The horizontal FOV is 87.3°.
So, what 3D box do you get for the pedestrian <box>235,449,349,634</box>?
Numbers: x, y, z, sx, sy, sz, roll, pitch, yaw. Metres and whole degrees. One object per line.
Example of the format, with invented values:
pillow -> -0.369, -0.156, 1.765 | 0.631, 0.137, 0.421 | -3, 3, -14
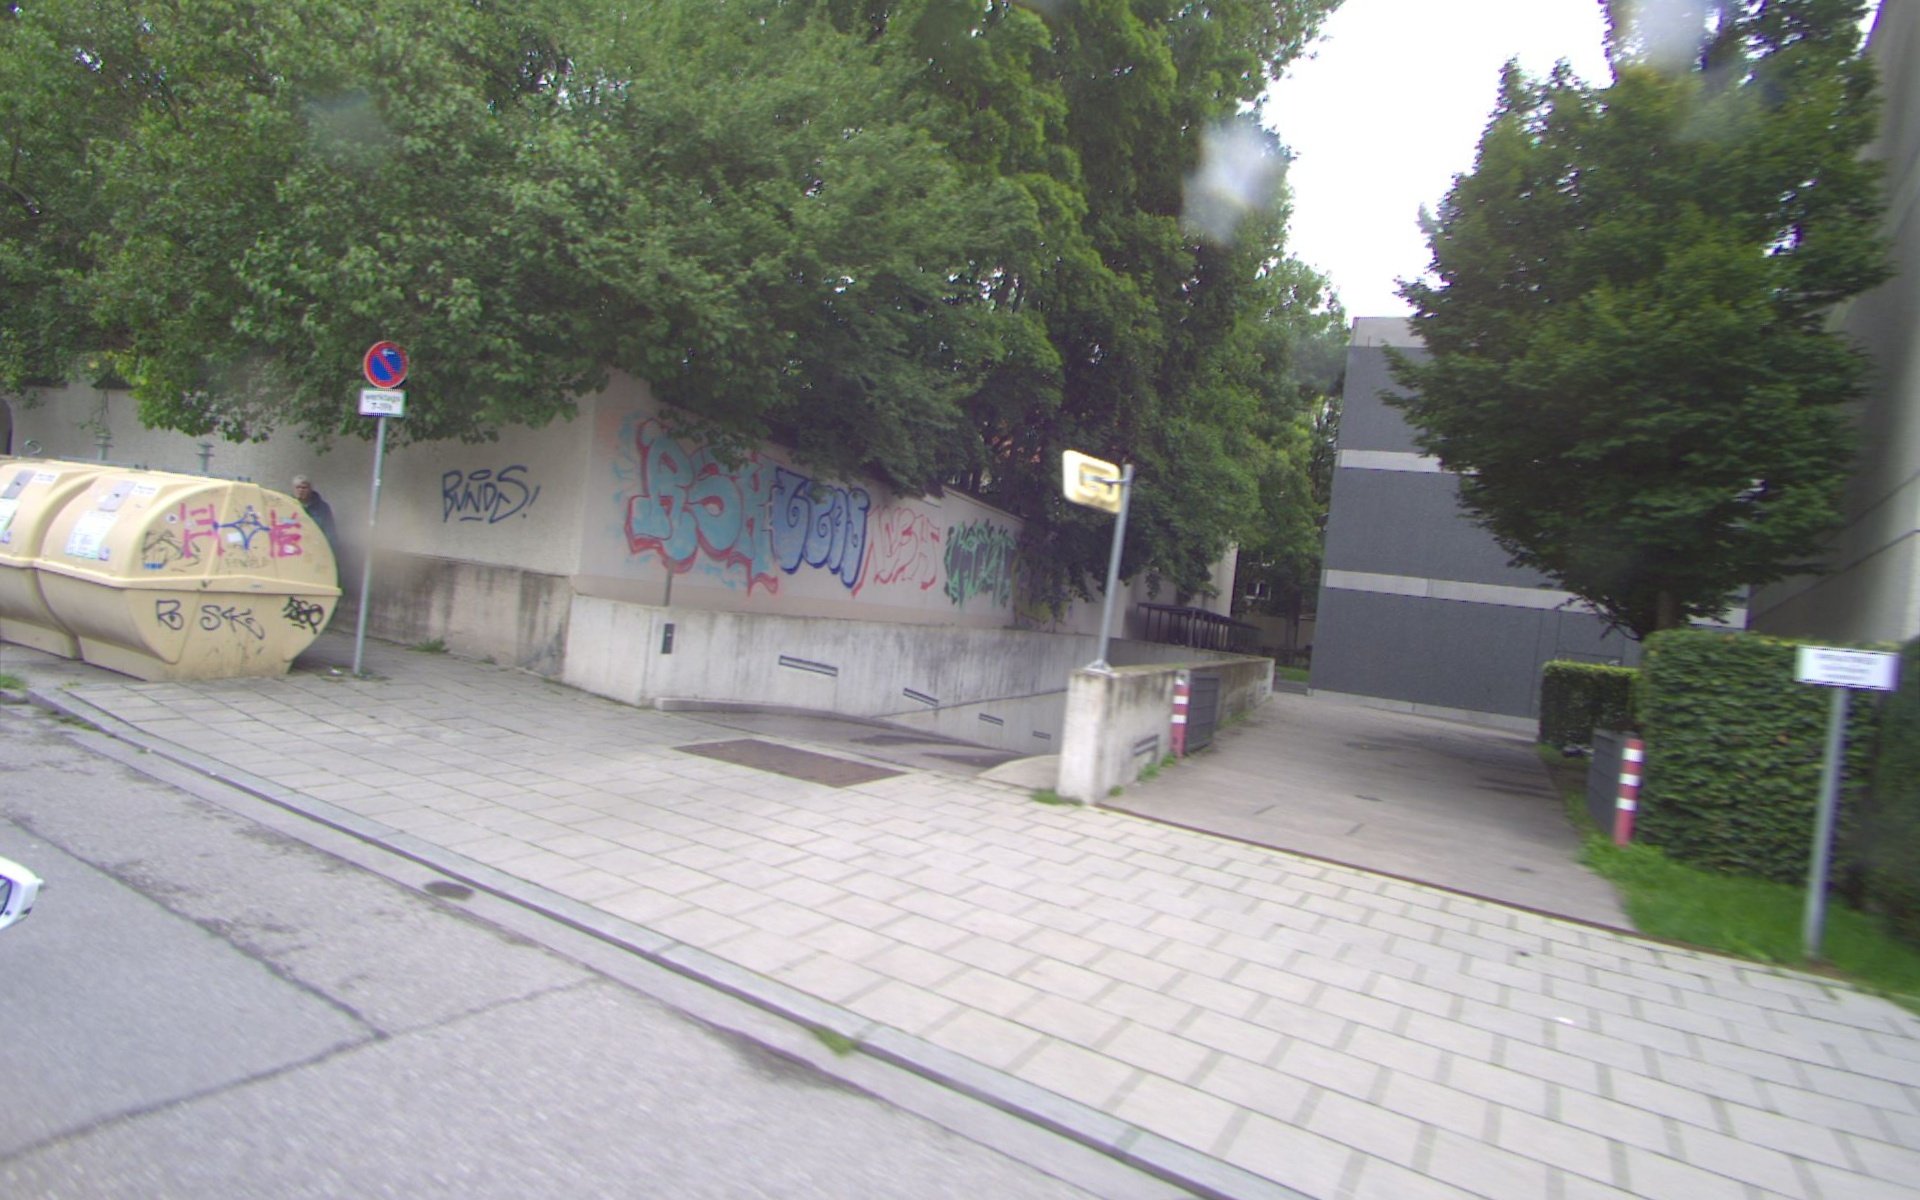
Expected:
pedestrian -> -7.734, -0.666, 11.658 | 0.784, 2.010, 0.630 | 8, 2, 26
